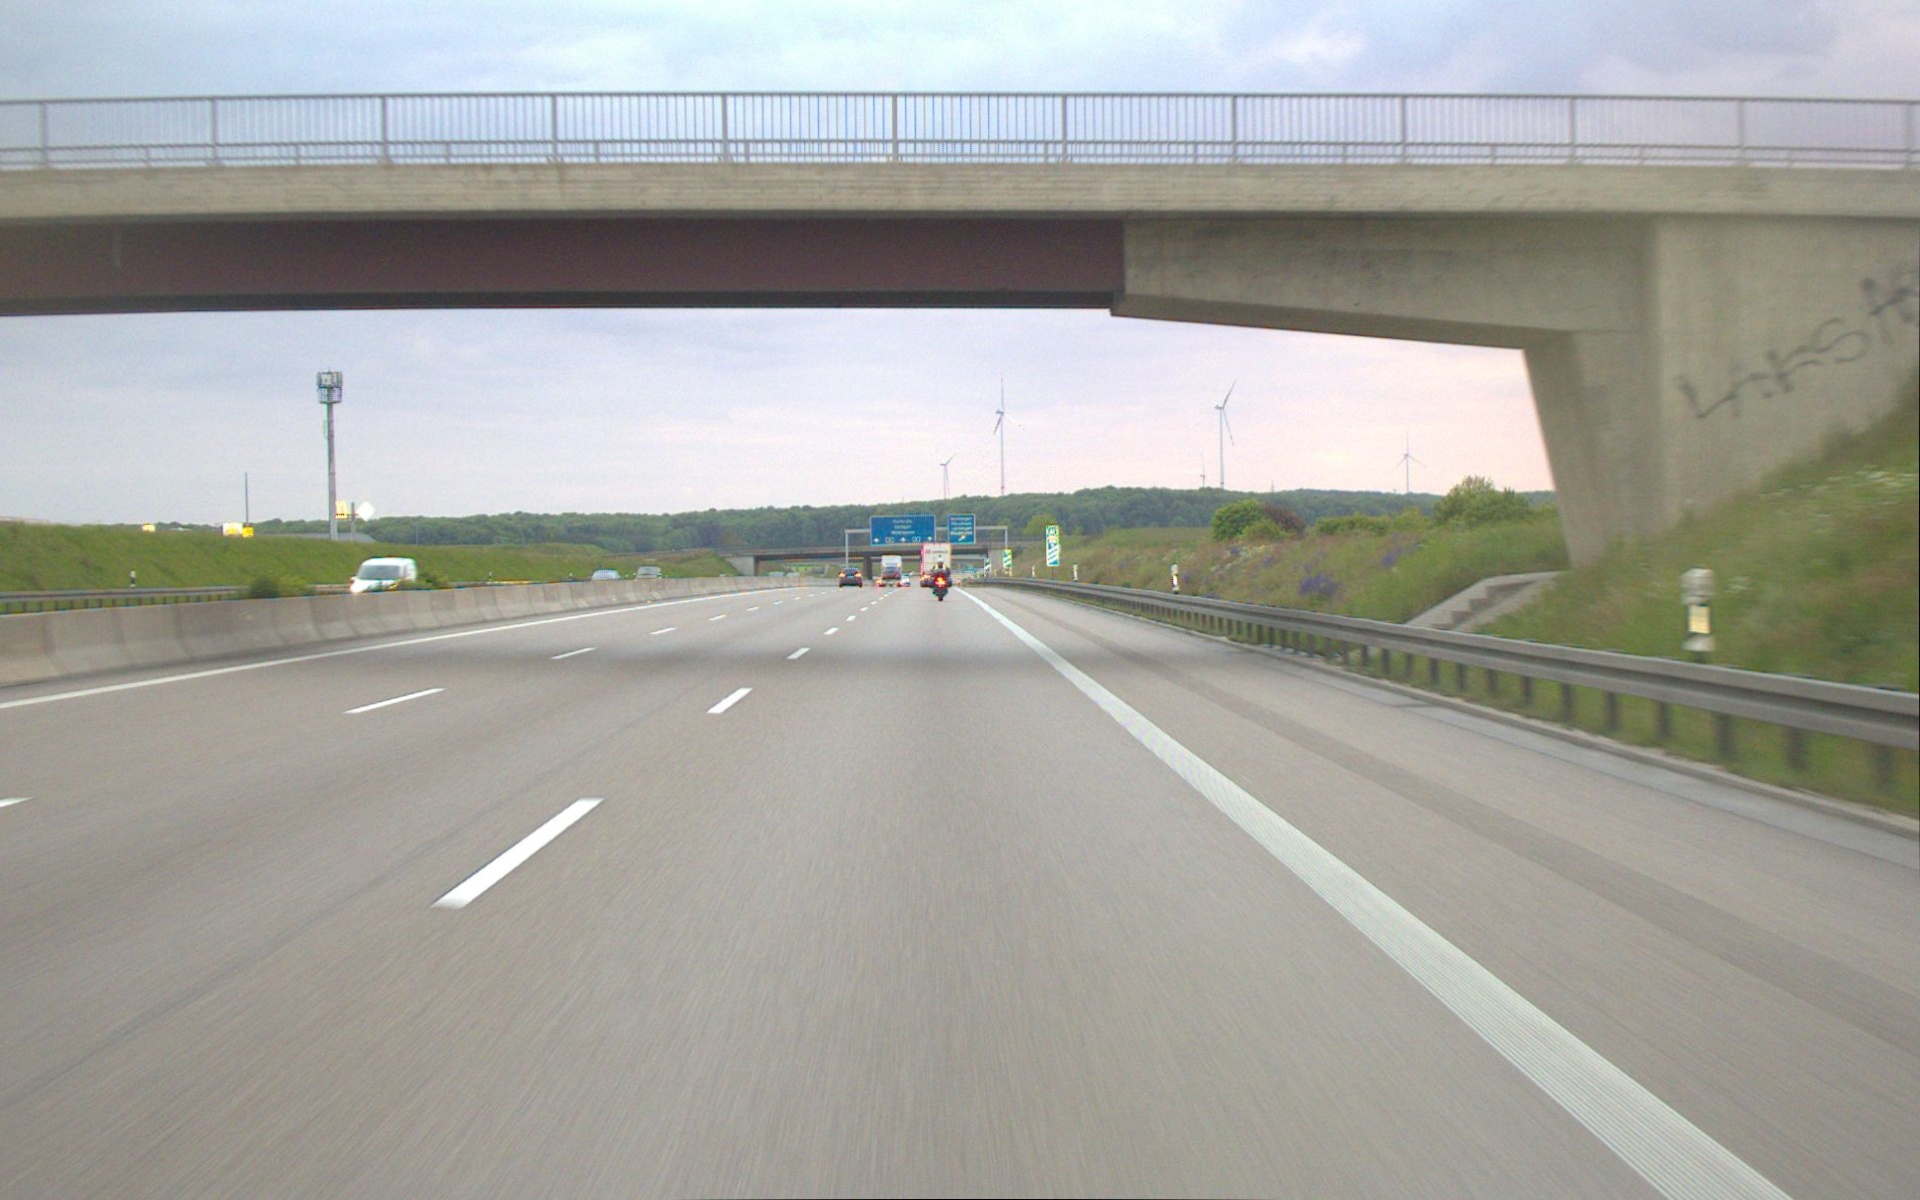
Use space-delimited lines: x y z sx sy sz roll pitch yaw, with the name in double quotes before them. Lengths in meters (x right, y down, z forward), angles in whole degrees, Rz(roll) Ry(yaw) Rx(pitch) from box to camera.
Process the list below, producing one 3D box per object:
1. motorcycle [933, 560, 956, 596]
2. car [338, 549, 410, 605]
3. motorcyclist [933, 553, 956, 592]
"motorcycle" -0.597 -0.867 133.324 0.902 1.342 2.349 0 1 0
"car" -20.734 -0.845 121.777 1.823 1.929 4.894 1 1 -1
"motorcyclist" -0.600 -1.058 133.204 0.866 1.482 1.168 1 1 1
